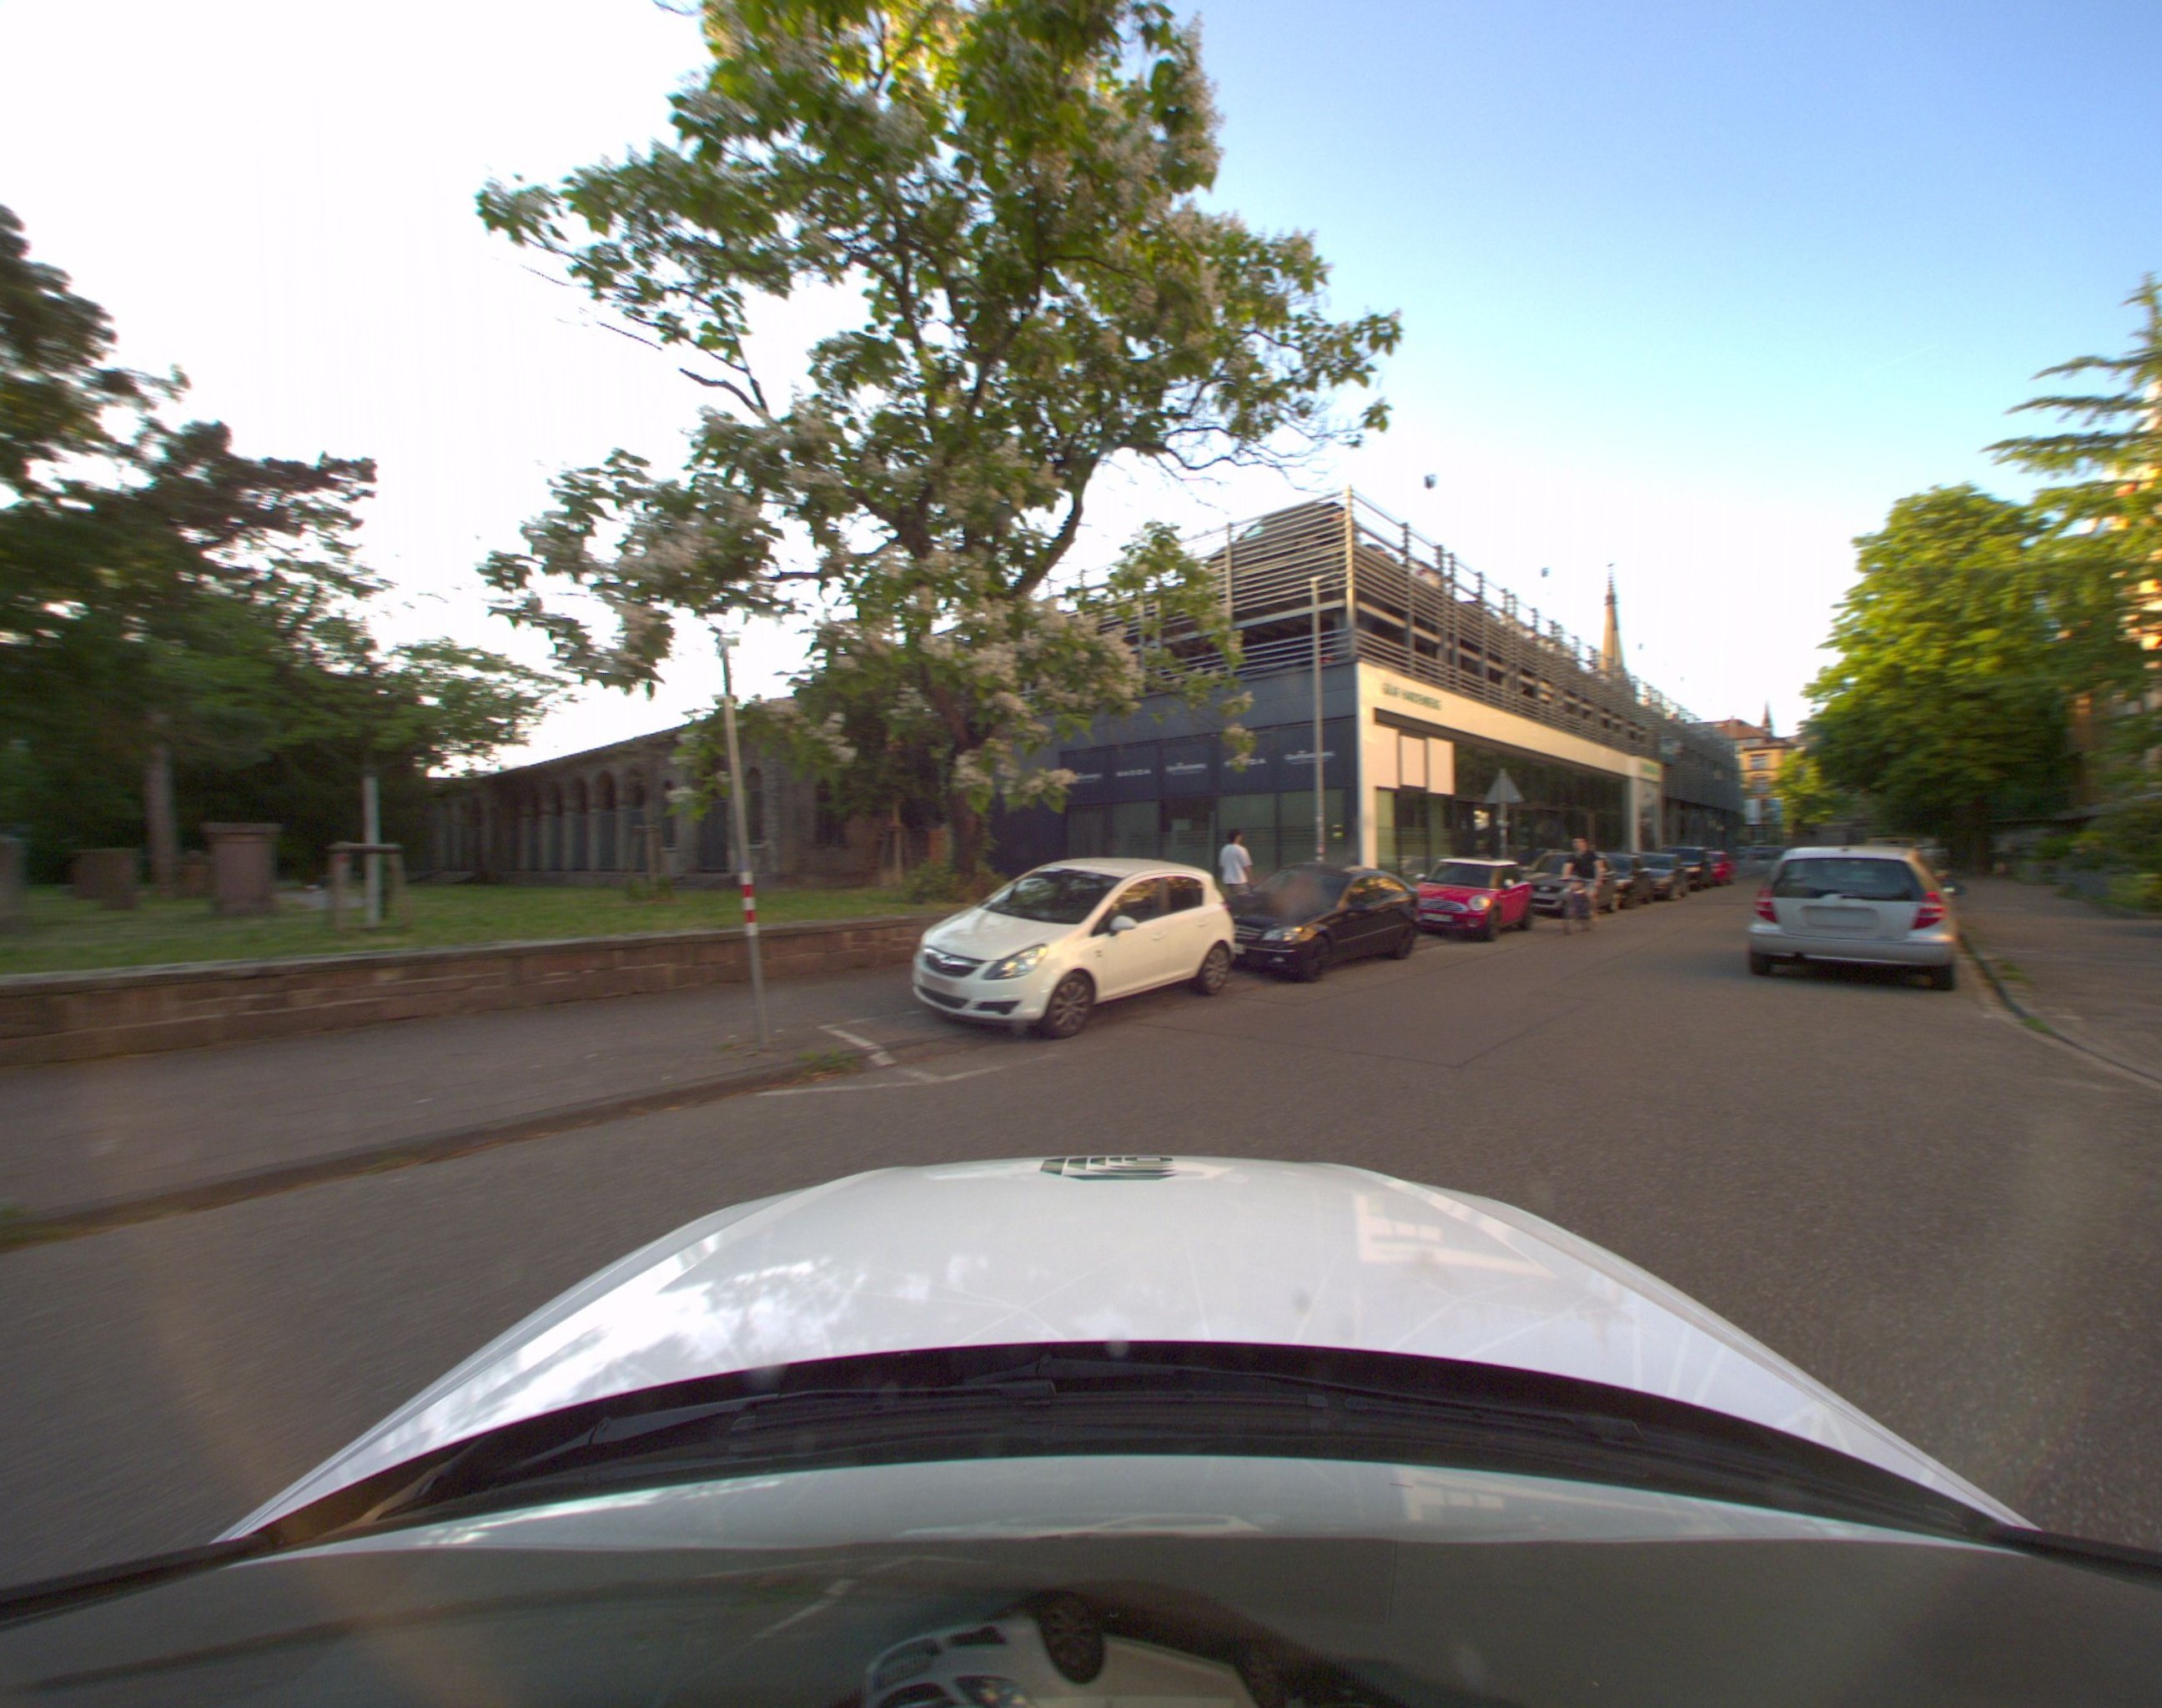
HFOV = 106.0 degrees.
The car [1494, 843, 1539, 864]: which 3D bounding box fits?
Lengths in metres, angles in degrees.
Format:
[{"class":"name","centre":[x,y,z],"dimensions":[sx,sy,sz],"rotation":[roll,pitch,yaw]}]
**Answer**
[{"class":"car","centre":[27.041,-0.045,50.490],"dimensions":[3.547,1.255,1.407],"rotation":[-2,0,-44]}]

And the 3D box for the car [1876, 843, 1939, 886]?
[{"class":"car","centre":[31.732,0.381,31.281],"dimensions":[3.498,1.510,1.595],"rotation":[-1,0,-45]}]

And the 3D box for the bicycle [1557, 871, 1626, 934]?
[{"class":"bicycle","centre":[9.709,0.894,15.461],"dimensions":[0.752,1.097,1.875],"rotation":[-3,-2,42]}]

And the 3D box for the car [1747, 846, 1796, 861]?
[{"class":"car","centre":[77.875,-0.107,91.817],"dimensions":[4.091,1.617,1.925],"rotation":[1,2,44]}]

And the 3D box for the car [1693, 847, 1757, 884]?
[{"class":"car","centre":[27.909,0.474,35.257],"dimensions":[3.812,1.506,1.682],"rotation":[-1,0,-45]}]

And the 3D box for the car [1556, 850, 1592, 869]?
[{"class":"car","centre":[35.031,0.406,57.840],"dimensions":[3.232,1.255,1.345],"rotation":[-2,0,-44]}]

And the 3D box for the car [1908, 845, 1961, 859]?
[{"class":"car","centre":[93.898,-0.243,89.588],"dimensions":[3.946,1.466,1.881],"rotation":[-1,1,-1]}]

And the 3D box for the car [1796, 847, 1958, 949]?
[{"class":"car","centre":[13.321,0.633,13.638],"dimensions":[4.051,1.419,1.701],"rotation":[-1,0,-45]}]

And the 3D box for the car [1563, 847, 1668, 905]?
[{"class":"car","centre":[15.499,0.563,23.528],"dimensions":[1.713,1.402,4.030],"rotation":[6,5,44]}]

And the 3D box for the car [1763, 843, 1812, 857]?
[{"class":"car","centre":[91.219,-0.543,105.197],"dimensions":[4.783,1.732,1.933],"rotation":[0,1,40]}]

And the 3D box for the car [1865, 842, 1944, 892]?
[{"class":"car","centre":[28.316,0.405,28.018],"dimensions":[4.218,1.562,1.775],"rotation":[-1,0,-45]}]

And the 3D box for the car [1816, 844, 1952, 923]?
[{"class":"car","centre":[16.493,0.531,16.717],"dimensions":[3.918,1.417,1.793],"rotation":[-1,0,-44]}]

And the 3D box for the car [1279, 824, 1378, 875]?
[{"class":"car","centre":[8.667,-0.165,28.338],"dimensions":[3.760,1.658,1.682],"rotation":[-1,0,-45]}]

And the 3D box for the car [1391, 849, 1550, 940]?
[{"class":"car","centre":[7.716,0.683,15.956],"dimensions":[1.646,1.410,3.951],"rotation":[5,5,42]}]

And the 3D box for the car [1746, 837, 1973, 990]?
[{"class":"car","centre":[9.978,0.606,10.446],"dimensions":[3.907,1.575,1.793],"rotation":[-1,0,-45]}]

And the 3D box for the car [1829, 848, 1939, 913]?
[{"class":"car","centre":[20.293,0.604,20.571],"dimensions":[4.652,1.417,1.793],"rotation":[-1,0,-45]}]

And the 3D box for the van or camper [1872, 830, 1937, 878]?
[{"class":"van or camper","centre":[39.073,-0.030,38.720],"dimensions":[2.045,2.096,5.121],"rotation":[-1,0,44]}]

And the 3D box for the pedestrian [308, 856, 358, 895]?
[{"class":"pedestrian","centre":[-28.833,0.817,31.420],"dimensions":[1.288,1.426,1.223],"rotation":[-2,0,-38]}]

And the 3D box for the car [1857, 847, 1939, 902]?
[{"class":"car","centre":[24.303,0.566,24.241],"dimensions":[4.077,1.461,1.595],"rotation":[-1,0,-45]}]

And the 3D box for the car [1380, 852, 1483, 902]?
[{"class":"car","centre":[11.897,0.733,27.500],"dimensions":[4.216,1.515,1.682],"rotation":[-1,0,-45]}]

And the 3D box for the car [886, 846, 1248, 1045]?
[{"class":"car","centre":[0.063,0.722,8.597],"dimensions":[1.646,1.514,3.909],"rotation":[3,3,40]}]

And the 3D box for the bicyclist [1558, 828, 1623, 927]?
[{"class":"bicyclist","centre":[9.692,0.427,15.489],"dimensions":[0.850,1.808,1.023],"rotation":[-2,0,41]}]

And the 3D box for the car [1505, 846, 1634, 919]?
[{"class":"car","centre":[12.068,0.621,20.029],"dimensions":[3.906,1.497,1.647],"rotation":[-1,5,-44]}]

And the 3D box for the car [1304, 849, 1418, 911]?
[{"class":"car","centre":[8.346,0.702,24.132],"dimensions":[3.899,1.650,1.578],"rotation":[-1,0,-45]}]

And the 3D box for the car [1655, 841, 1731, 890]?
[{"class":"car","centre":[23.780,0.424,31.603],"dimensions":[4.429,1.756,1.682],"rotation":[-1,0,-45]}]

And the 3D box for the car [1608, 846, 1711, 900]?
[{"class":"car","centre":[19.218,0.584,26.972],"dimensions":[4.228,1.596,1.920],"rotation":[-2,0,-43]}]

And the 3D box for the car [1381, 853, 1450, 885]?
[{"class":"car","centre":[16.410,0.735,39.900],"dimensions":[3.943,1.434,1.682],"rotation":[-1,0,-45]}]

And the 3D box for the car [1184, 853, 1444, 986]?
[{"class":"car","centre":[3.559,0.778,11.889],"dimensions":[1.647,1.415,4.440],"rotation":[6,5,44]}]

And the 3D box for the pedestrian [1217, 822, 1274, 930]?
[{"class":"pedestrian","centre":[2.933,0.378,14.541],"dimensions":[0.624,1.878,0.714],"rotation":[-1,0,-43]}]
